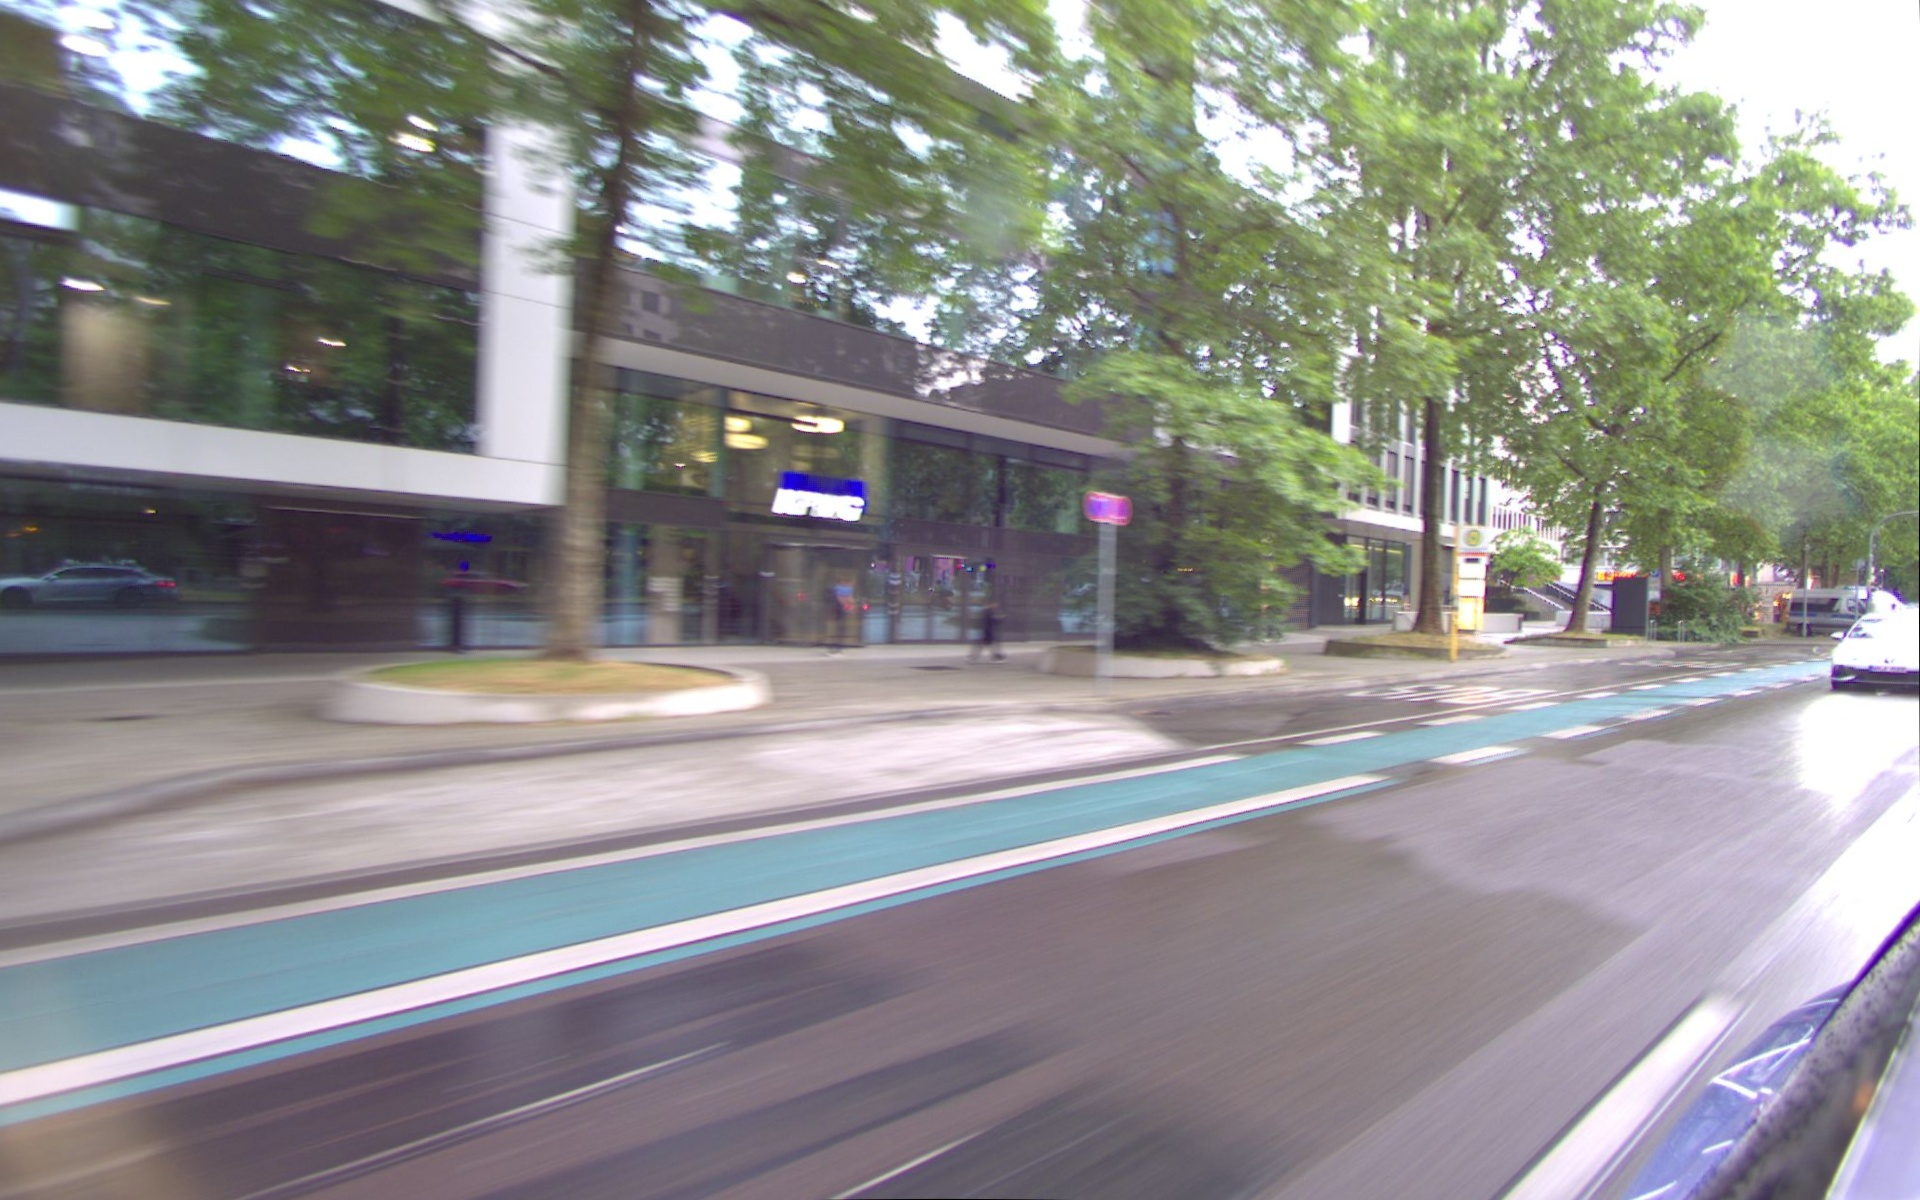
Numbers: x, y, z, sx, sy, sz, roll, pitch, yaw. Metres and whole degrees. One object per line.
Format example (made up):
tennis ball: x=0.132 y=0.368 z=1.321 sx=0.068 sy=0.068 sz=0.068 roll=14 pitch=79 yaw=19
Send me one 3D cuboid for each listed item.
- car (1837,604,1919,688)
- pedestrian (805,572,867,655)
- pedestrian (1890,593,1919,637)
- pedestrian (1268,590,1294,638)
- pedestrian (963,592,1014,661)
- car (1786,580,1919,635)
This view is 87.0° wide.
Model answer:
car: x=18.245 y=0.823 z=19.281 sx=3.727 sy=1.490 sz=1.794 roll=0 pitch=0 yaw=-41
pedestrian: x=-2.830 y=0.293 z=23.139 sx=1.068 sy=1.816 sz=0.788 roll=2 pitch=2 yaw=-43
pedestrian: x=40.294 y=0.626 z=43.091 sx=0.707 sy=1.872 sz=0.892 roll=0 pitch=0 yaw=-35
pedestrian: x=11.364 y=0.483 z=35.822 sx=0.707 sy=1.645 sz=0.527 roll=-1 pitch=3 yaw=-41
pedestrian: x=0.647 y=0.593 z=23.041 sx=0.987 sy=1.524 sz=0.588 roll=1 pitch=1 yaw=-41
car: x=46.677 y=0.330 z=52.402 sx=2.275 sy=2.714 sz=6.292 roll=0 pitch=0 yaw=-5
